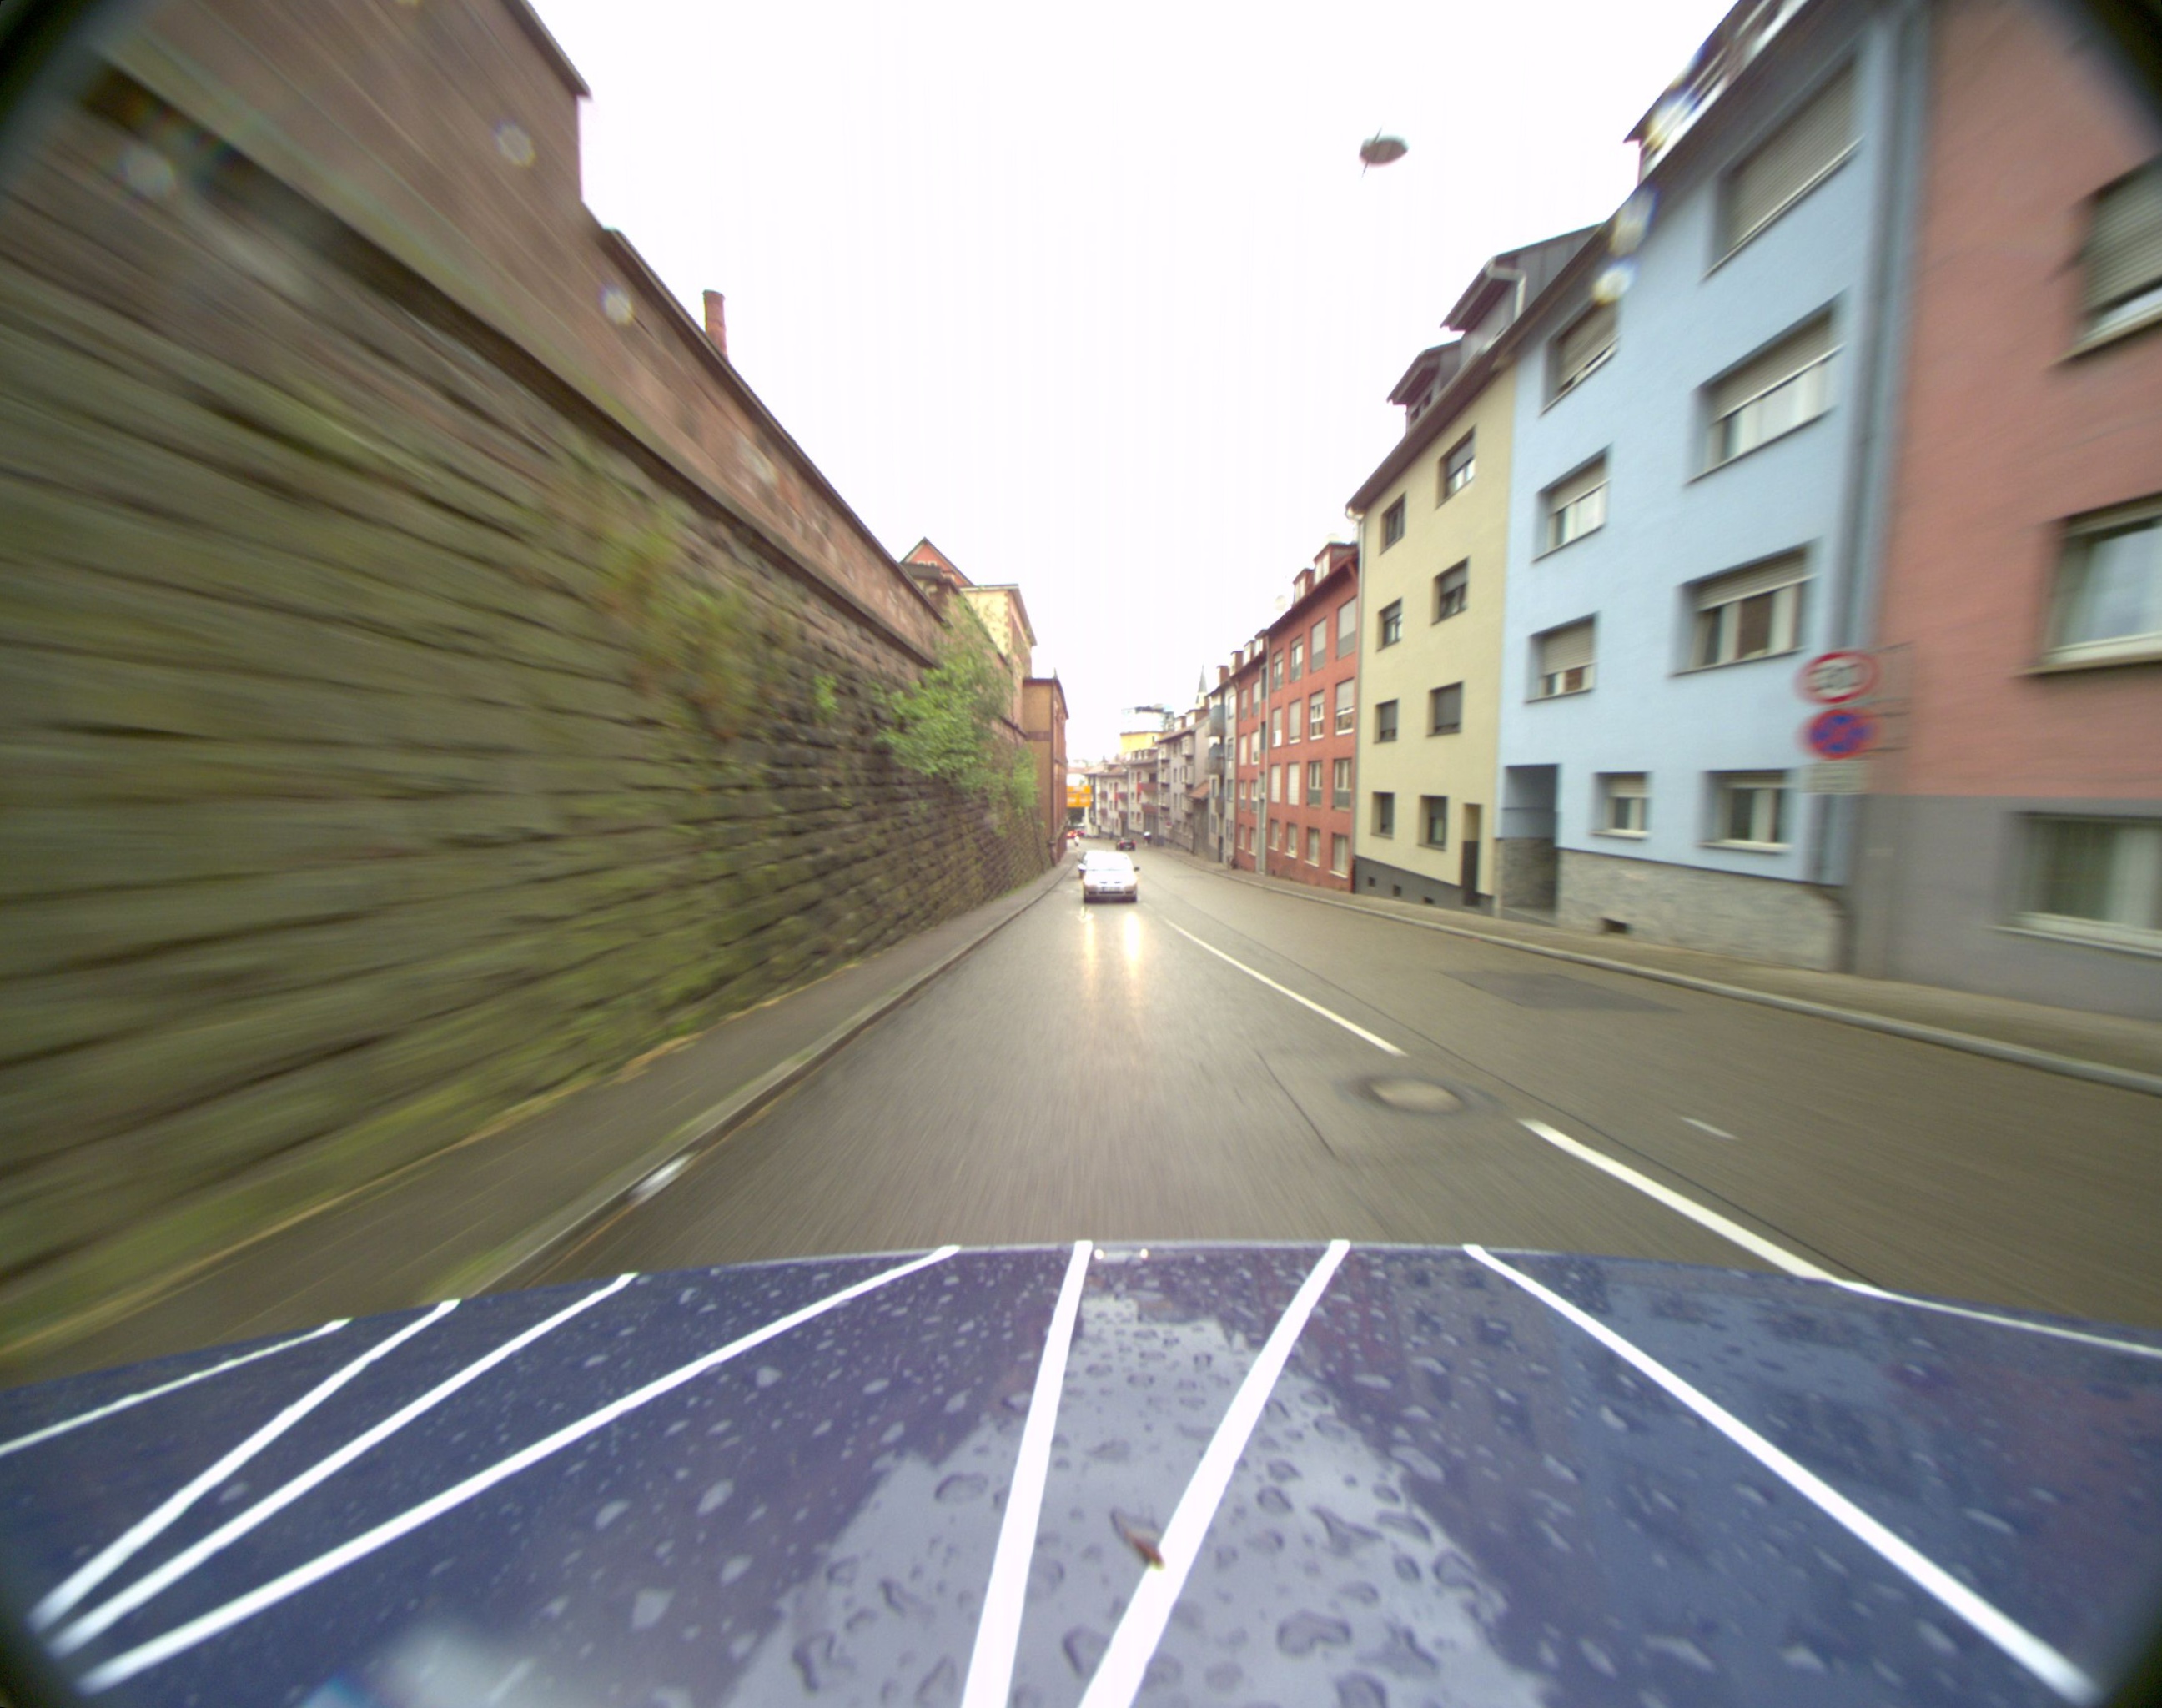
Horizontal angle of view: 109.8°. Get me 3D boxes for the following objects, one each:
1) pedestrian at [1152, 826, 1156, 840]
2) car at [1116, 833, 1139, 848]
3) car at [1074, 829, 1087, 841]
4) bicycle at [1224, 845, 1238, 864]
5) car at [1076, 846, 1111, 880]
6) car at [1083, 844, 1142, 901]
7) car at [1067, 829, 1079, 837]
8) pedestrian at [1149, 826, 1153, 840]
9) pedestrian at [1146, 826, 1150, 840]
[{"bbox_3d":[9.197,-2.628,95.402,0.355,1.770,0.499,-2,3,-8],"label":"pedestrian"},{"bbox_3d":[5.182,-1.555,85.465,1.999,1.470,3.996,2,2,-5],"label":"car"},{"bbox_3d":[-0.063,-2.529,103.289,1.637,1.521,3.999,-2,0,-2],"label":"car"},{"bbox_3d":[9.676,0.020,49.037,0.572,1.111,2.039,-2,2,2],"label":"bicycle"},{"bbox_3d":[0.637,0.448,41.203,1.720,1.528,3.997,-2,3,-1],"label":"car"},{"bbox_3d":[0.990,0.537,24.978,1.720,1.528,3.998,-2,3,1],"label":"car"},{"bbox_3d":[-1.426,-3.868,137.777,1.714,1.317,3.367,-2,3,-6],"label":"car"},{"bbox_3d":[8.816,-2.615,95.343,0.381,1.770,0.499,-2,3,-8],"label":"pedestrian"},{"bbox_3d":[8.413,-2.601,95.303,0.387,1.770,0.499,-2,3,-8],"label":"pedestrian"}]
